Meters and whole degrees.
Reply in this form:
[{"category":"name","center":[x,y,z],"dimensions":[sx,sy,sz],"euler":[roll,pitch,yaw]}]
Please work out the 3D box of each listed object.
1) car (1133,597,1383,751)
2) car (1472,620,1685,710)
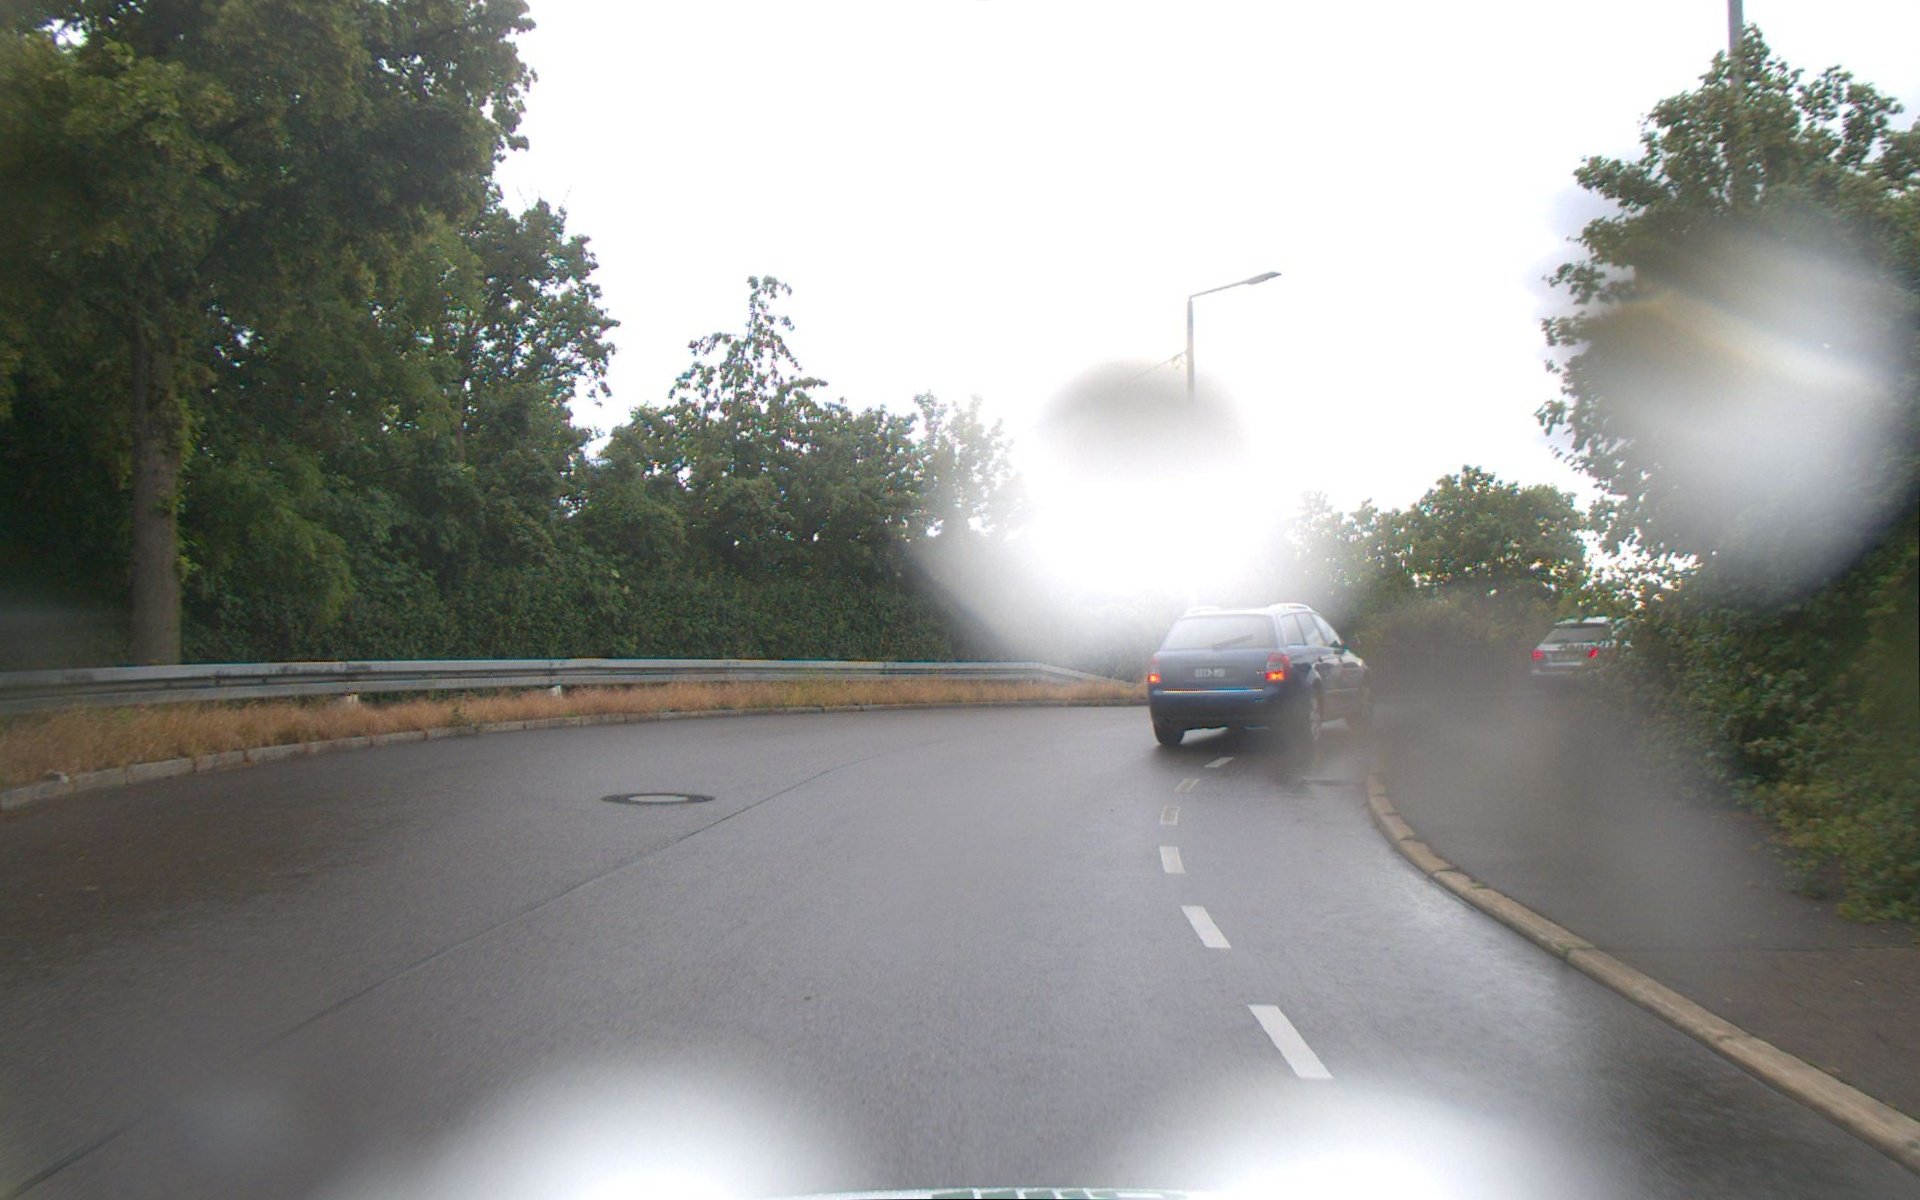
[{"category":"car","center":[3.390,0.730,18.219],"dimensions":[1.712,1.432,3.997],"euler":[-1,0,25]},{"category":"car","center":[10.579,1.057,28.170],"dimensions":[3.968,1.413,1.867],"euler":[1,-1,-44]}]
